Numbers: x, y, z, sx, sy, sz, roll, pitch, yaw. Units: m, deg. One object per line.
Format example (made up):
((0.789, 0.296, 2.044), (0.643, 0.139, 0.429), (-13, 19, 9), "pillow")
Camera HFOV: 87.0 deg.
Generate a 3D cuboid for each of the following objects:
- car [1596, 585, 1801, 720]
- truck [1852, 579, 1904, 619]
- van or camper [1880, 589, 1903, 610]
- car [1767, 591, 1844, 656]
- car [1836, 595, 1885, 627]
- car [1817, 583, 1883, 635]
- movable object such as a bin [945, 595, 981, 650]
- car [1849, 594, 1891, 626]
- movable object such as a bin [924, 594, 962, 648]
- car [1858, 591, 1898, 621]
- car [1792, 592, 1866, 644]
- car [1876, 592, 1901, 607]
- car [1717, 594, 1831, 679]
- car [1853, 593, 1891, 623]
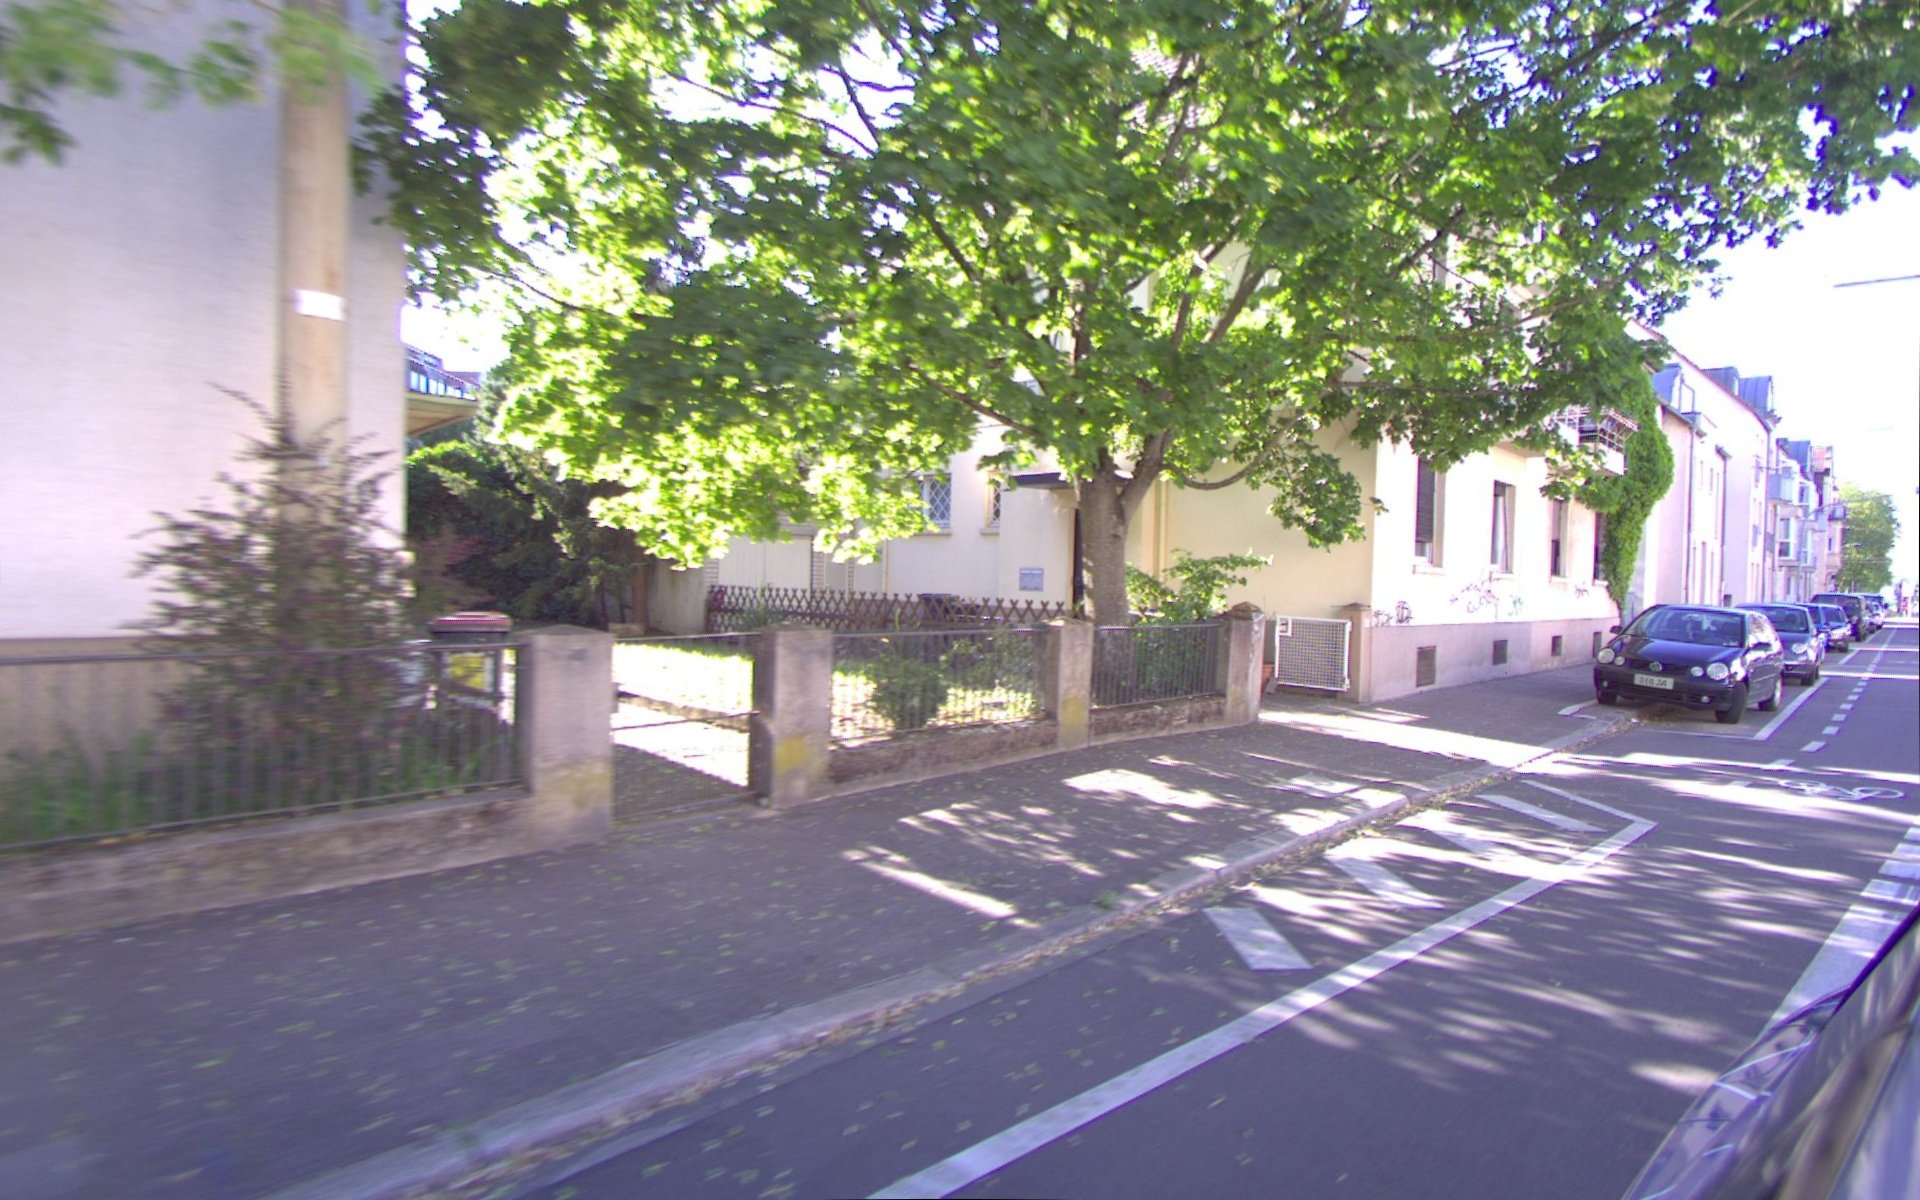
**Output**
((10.378, 0.610, 14.130), (3.708, 1.583, 1.667), (-1, 3, -44), "car")
((60.861, -0.089, 67.037), (2.296, 2.508, 6.048), (3, 2, 44), "truck")
((112.506, -0.051, 122.200), (1.994, 2.390, 5.510), (2, 0, 43), "van or camper")
((22.414, 0.576, 26.793), (1.456, 1.619, 3.244), (0, 0, 42), "car")
((43.386, 0.499, 48.726), (1.676, 1.510, 4.107), (0, 0, 43), "car")
((36.798, 0.330, 41.807), (1.905, 2.012, 4.492), (0, 0, 43), "car")
((0.049, 0.398, 17.926), (0.429, 0.943, 0.449), (1, 1, -42), "movable object such as a bin")
((46.825, 0.508, 52.040), (1.553, 1.577, 3.595), (0, 0, 43), "car")
((-0.309, 0.372, 18.312), (0.429, 0.943, 0.516), (1, 1, -42), "movable object such as a bin")
((56.729, 0.364, 62.529), (1.739, 1.768, 4.188), (0, 0, 44), "car")
((28.693, 0.544, 33.371), (1.743, 1.619, 4.366), (0, 0, 42), "car")
((105.497, -0.039, 115.007), (1.980, 1.567, 3.969), (2, 1, 44), "car")
((16.296, 0.656, 20.209), (1.600, 1.544, 3.495), (0, 0, 42), "car")
((49.814, 0.440, 55.247), (1.496, 1.577, 3.312), (0, 0, 43), "car")
